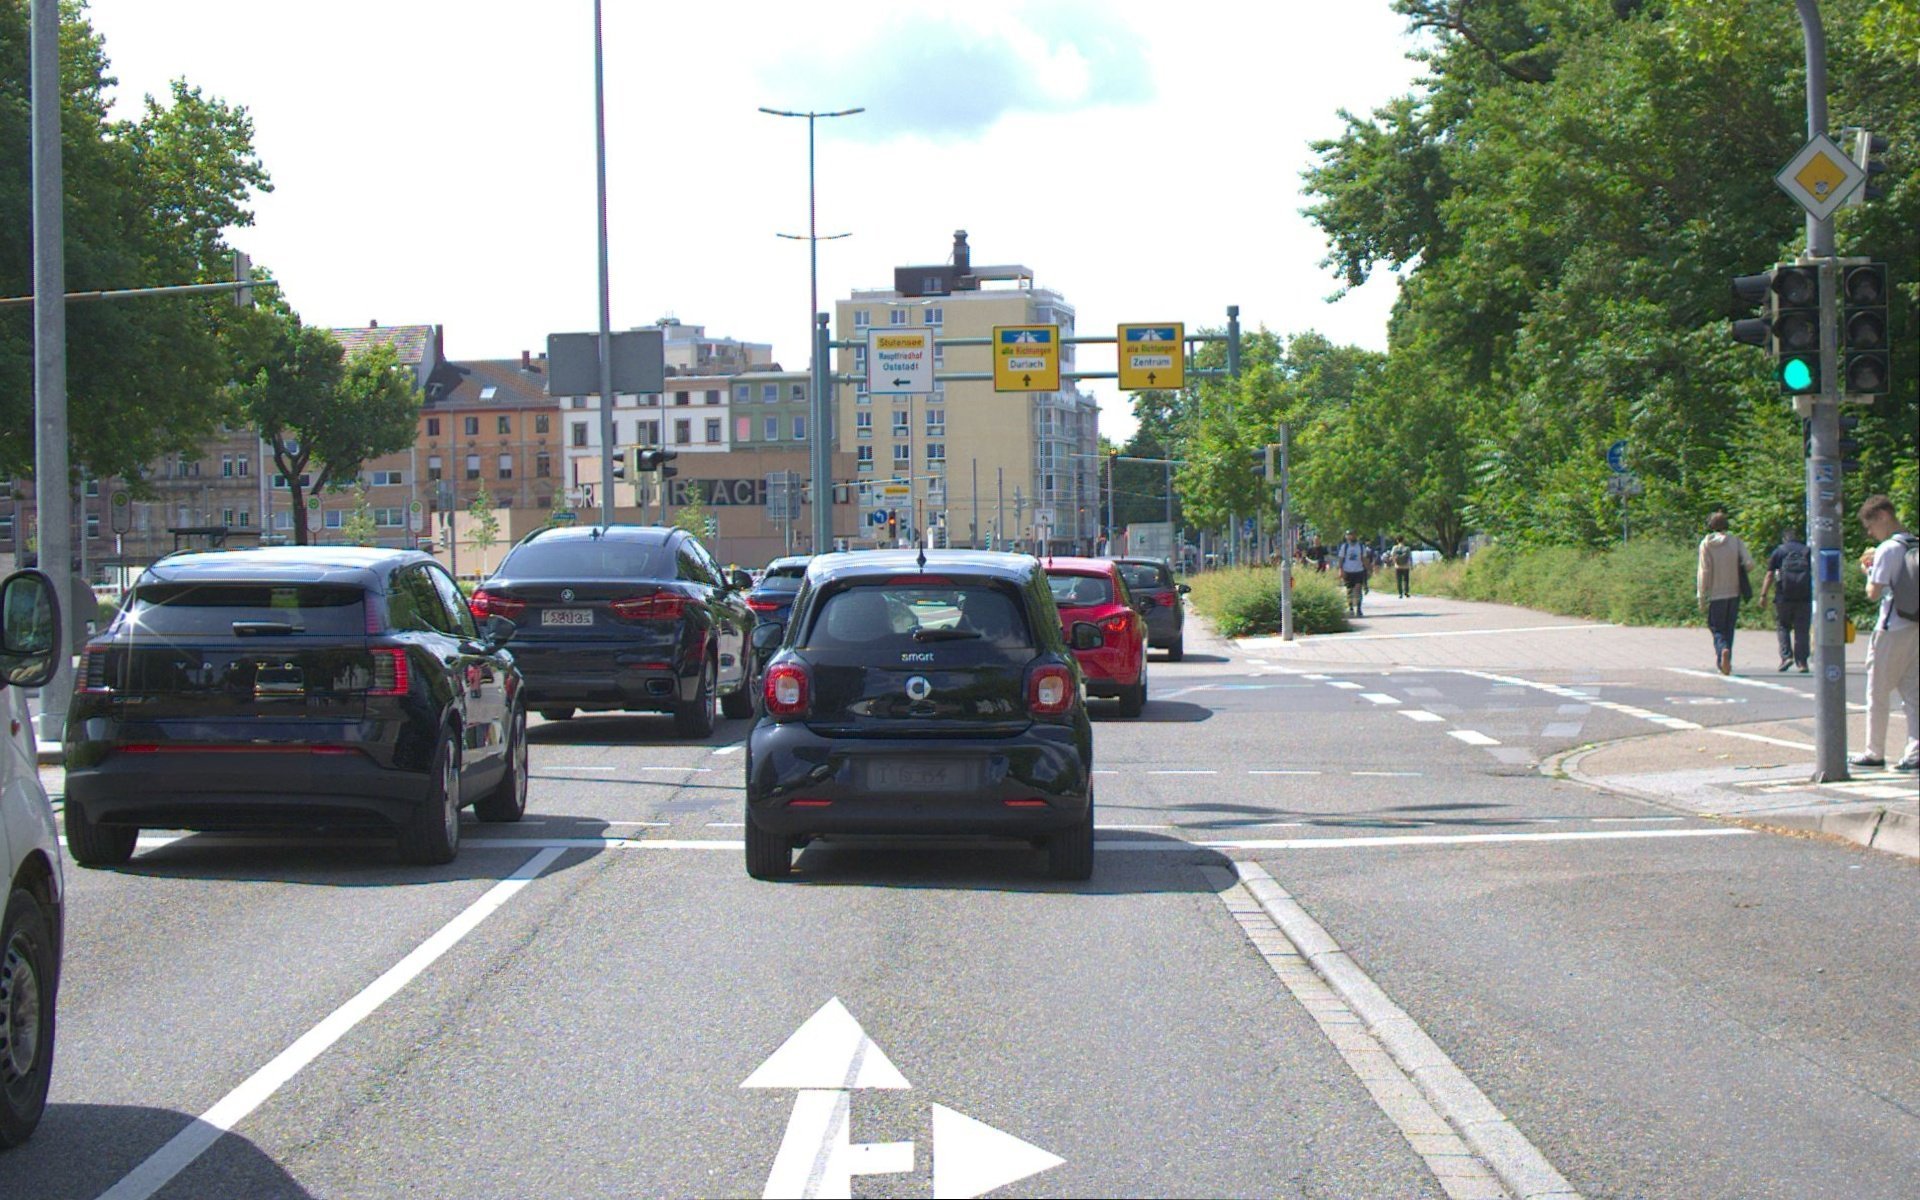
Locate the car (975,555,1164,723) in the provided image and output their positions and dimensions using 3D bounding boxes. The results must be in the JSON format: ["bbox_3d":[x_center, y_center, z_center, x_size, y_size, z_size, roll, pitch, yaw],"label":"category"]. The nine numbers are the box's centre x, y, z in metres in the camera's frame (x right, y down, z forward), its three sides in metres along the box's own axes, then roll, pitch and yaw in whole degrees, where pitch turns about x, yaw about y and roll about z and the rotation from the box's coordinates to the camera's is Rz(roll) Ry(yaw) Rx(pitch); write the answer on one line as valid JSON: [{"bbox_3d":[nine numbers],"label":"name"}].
[{"bbox_3d":[1.004,0.313,31.584,1.611,1.406,3.517,1,1,2],"label":"car"}]

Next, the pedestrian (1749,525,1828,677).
[{"bbox_3d":[9.407,-0.002,39.084,0.795,1.698,1.182,0,1,10],"label":"pedestrian"}]

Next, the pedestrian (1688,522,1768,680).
[{"bbox_3d":[8.423,-0.002,37.725,0.795,1.698,1.182,0,1,10],"label":"pedestrian"}]

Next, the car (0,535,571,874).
[{"bbox_3d":[-3.378,0.434,18.223,2.017,1.525,4.887,0,1,1],"label":"car"}]

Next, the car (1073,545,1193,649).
[{"bbox_3d":[2.447,-0.068,49.210,1.611,1.406,3.517,1,1,2],"label":"car"}]

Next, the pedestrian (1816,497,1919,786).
[{"bbox_3d":[5.914,0.251,21.834,0.594,1.794,0.611,-3,1,-35],"label":"pedestrian"}]

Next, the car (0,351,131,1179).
[{"bbox_3d":[-3.246,0.409,6.799,2.006,1.949,5.194,0,1,-1],"label":"car"}]

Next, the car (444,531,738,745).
[{"bbox_3d":[-2.948,0.242,28.325,1.827,1.595,4.393,0,1,2],"label":"car"}]

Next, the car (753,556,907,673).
[{"bbox_3d":[-1.520,0.140,41.295,1.611,1.320,3.517,0,1,2],"label":"car"}]

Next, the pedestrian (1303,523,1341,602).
[{"bbox_3d":[9.088,-0.950,86.373,0.838,1.962,0.861,-1,1,0],"label":"pedestrian"}]

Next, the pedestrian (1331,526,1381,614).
[{"bbox_3d":[7.852,-0.589,68.188,0.851,1.695,0.931,-2,0,2],"label":"pedestrian"}]

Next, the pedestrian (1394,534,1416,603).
[{"bbox_3d":[12.331,-0.874,95.201,0.501,1.884,0.560,1,0,-1],"label":"pedestrian"}]

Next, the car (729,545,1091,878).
[{"bbox_3d":[-0.175,0.478,17.209,1.611,1.480,3.517,1,1,2],"label":"car"}]
